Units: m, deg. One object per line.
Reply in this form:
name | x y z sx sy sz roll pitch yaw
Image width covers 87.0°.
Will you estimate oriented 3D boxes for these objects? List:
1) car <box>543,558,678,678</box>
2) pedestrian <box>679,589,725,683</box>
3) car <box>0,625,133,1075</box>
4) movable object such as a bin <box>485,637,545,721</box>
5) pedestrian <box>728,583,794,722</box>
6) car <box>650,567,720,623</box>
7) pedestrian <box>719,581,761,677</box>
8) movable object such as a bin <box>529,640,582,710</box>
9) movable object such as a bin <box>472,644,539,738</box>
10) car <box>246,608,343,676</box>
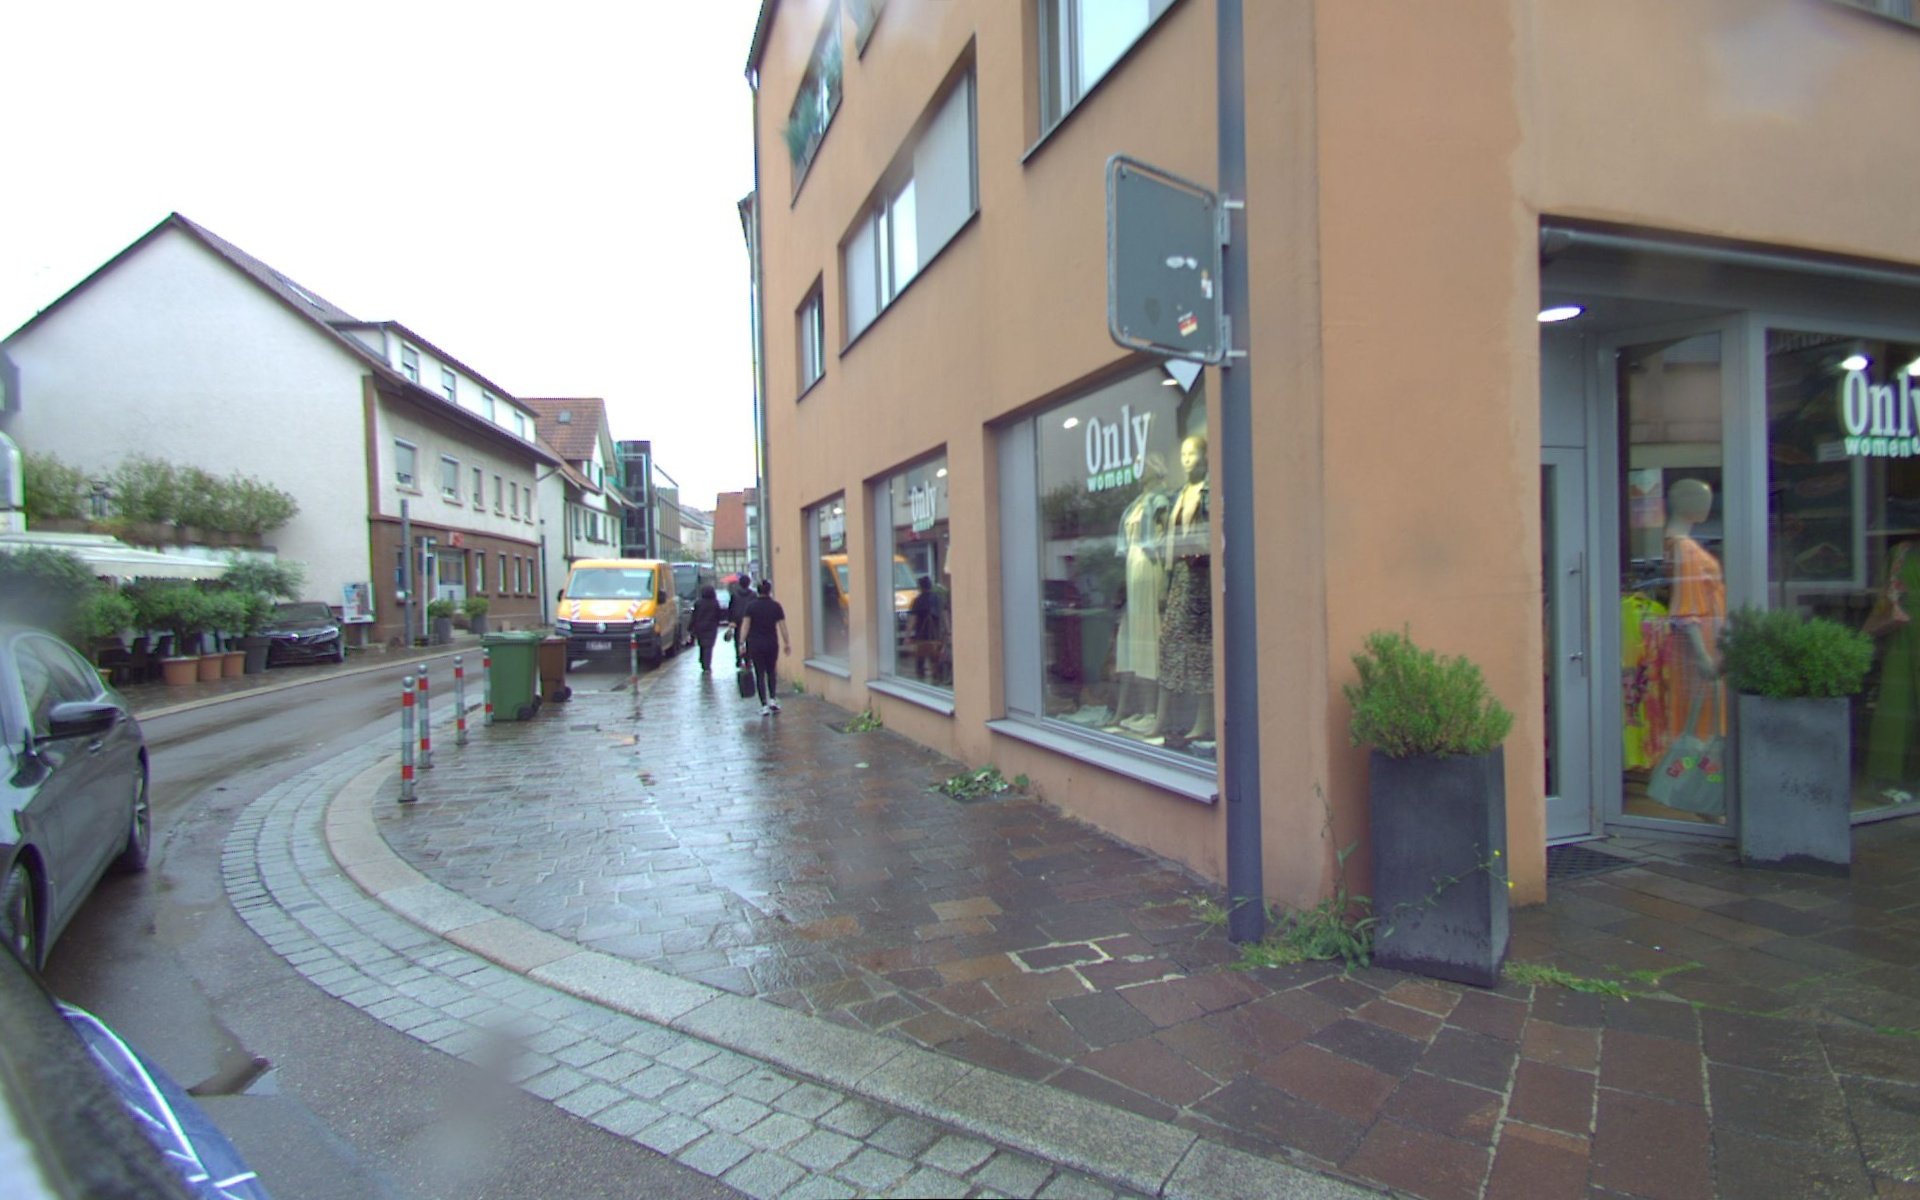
car | -7.484 0.320 22.273 1.967 2.256 5.875 -1 1 -11
pedestrian | -4.767 0.640 18.667 0.705 1.651 0.748 -3 1 -17
car | -5.138 0.889 4.594 1.917 1.413 4.429 -2 1 -37
movable object such as a bin | -5.897 1.033 13.435 0.647 1.044 0.612 -1 0 -18
pedestrian | -2.438 0.613 12.351 0.650 1.622 0.686 -2 0 -20
car | -15.616 -0.236 58.052 2.669 2.895 8.859 -2 0 -8
pedestrian | -4.113 0.524 18.872 0.614 1.725 0.811 -3 1 -17
movable object such as a bin | -5.835 1.071 14.602 0.574 0.934 0.482 -3 1 -9
movable object such as a bin | -5.466 1.075 12.197 0.647 1.044 0.612 -2 1 -18
car | -15.216 0.900 23.278 1.709 1.367 3.948 -2 1 -32
